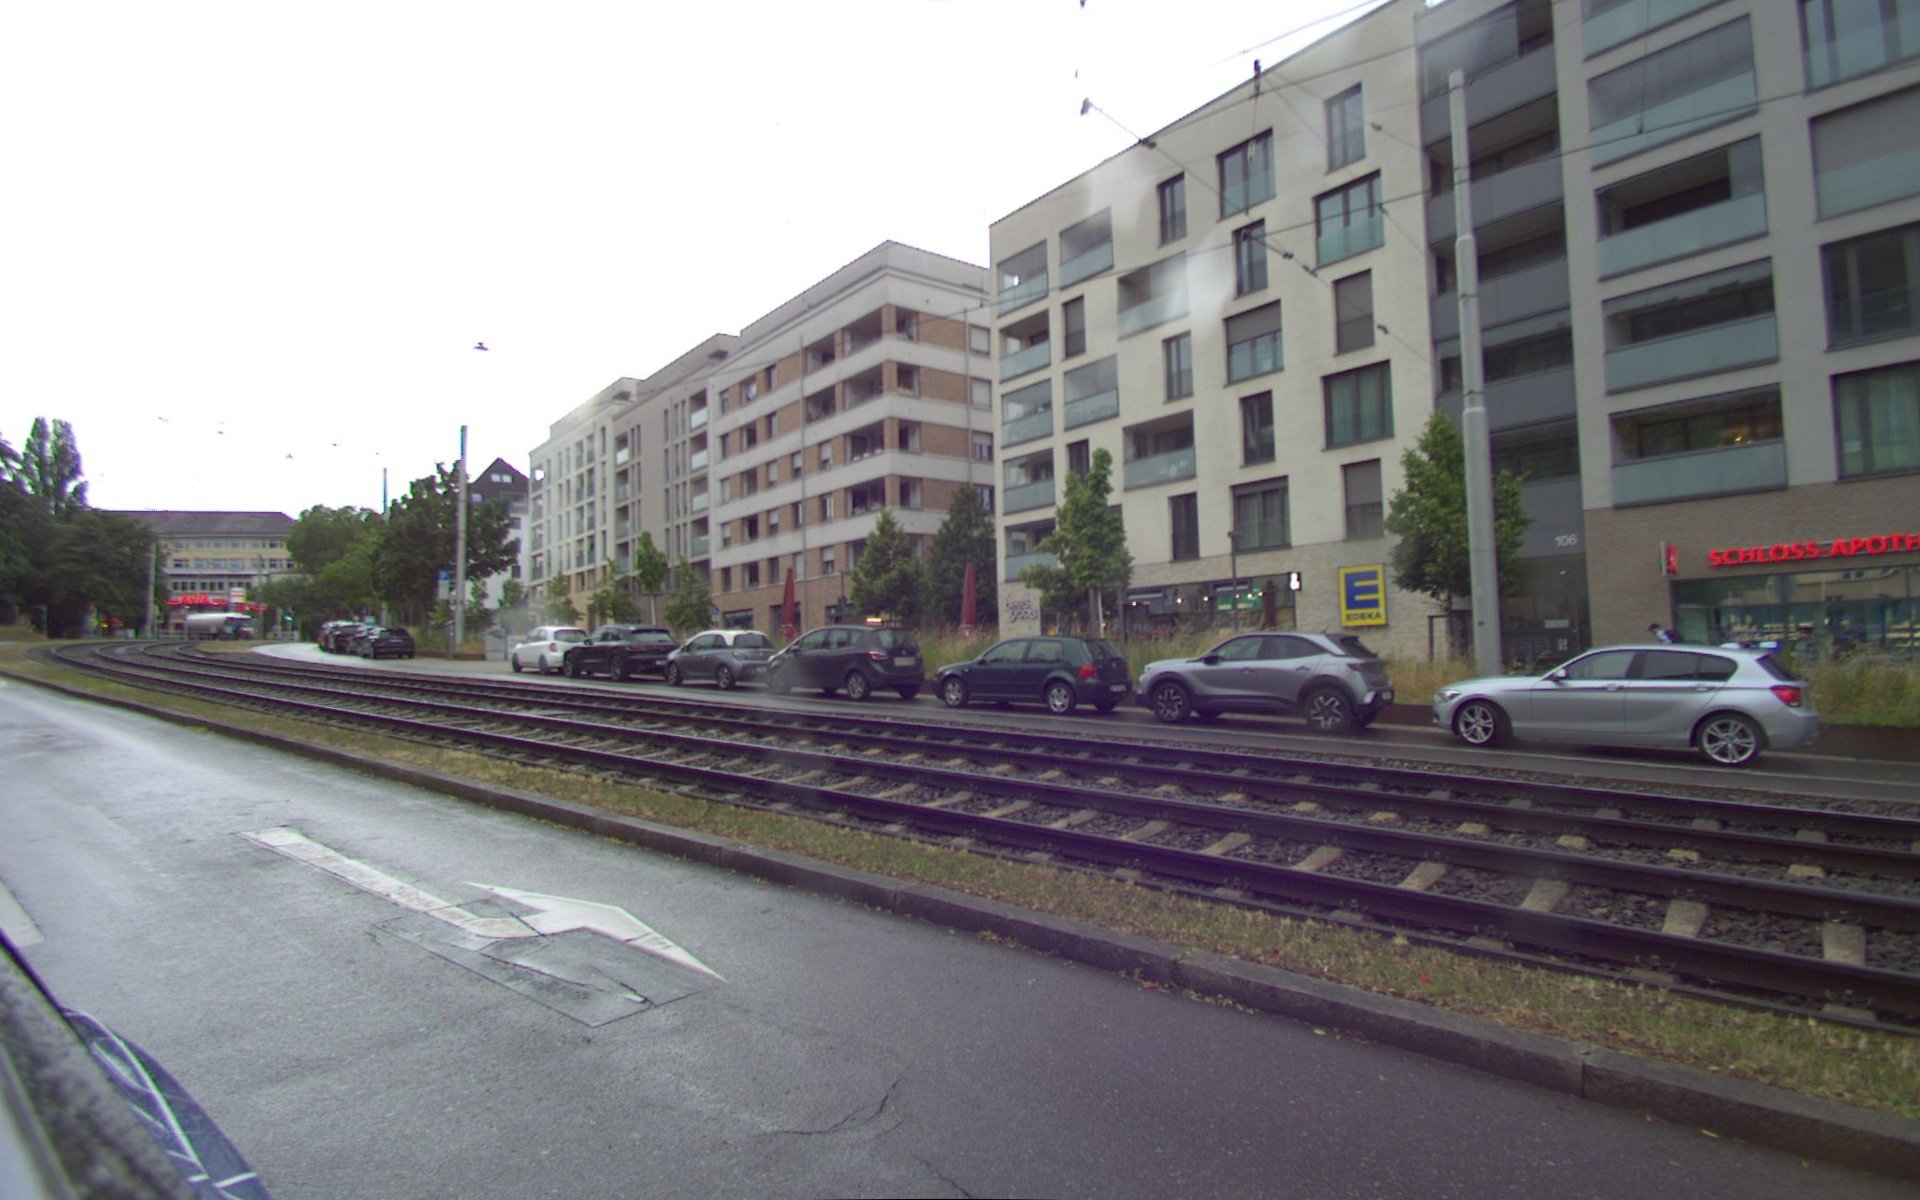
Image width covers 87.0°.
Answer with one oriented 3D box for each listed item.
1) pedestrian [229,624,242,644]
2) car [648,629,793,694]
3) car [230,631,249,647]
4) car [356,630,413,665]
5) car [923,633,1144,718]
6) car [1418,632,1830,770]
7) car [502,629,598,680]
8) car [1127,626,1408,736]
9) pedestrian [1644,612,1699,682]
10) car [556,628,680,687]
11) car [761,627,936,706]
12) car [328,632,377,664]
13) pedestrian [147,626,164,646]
[{"bbox_3d":[-66.947,3.128,93.535,0.806,1.777,0.750,5,-5,-41],"label":"pedestrian"},{"bbox_3d":[-6.248,1.529,26.192,3.926,1.516,1.663,-1,-1,40],"label":"car"},{"bbox_3d":[-80.387,4.364,112.927,1.641,1.619,3.818,-1,0,-34],"label":"car"},{"bbox_3d":[-26.646,2.166,46.793,1.630,1.475,3.676,-1,0,-40],"label":"car"},{"bbox_3d":[1.335,1.367,19.378,4.030,1.391,1.663,-1,-1,40],"label":"car"},{"bbox_3d":[8.535,1.184,13.284,4.326,1.475,1.663,-1,-1,40],"label":"car"},{"bbox_3d":[-13.385,1.734,32.928,1.627,1.516,3.784,0,-1,-44],"label":"car"},{"bbox_3d":[4.916,1.215,16.406,4.042,1.541,1.665,-1,-1,36],"label":"car"},{"bbox_3d":[15.461,1.009,21.985,0.647,1.460,0.805,-1,0,-37],"label":"pedestrian"},{"bbox_3d":[-9.970,1.611,29.330,1.660,1.516,4.408,0,-1,-44],"label":"car"},{"bbox_3d":[-2.536,1.400,22.519,3.926,1.575,1.663,-1,-1,40],"label":"car"},{"bbox_3d":[-31.722,2.471,52.811,1.630,1.475,3.676,-1,0,-40],"label":"car"},{"bbox_3d":[-72.584,3.269,91.328,0.805,1.777,0.750,2,-4,-10],"label":"pedestrian"}]
